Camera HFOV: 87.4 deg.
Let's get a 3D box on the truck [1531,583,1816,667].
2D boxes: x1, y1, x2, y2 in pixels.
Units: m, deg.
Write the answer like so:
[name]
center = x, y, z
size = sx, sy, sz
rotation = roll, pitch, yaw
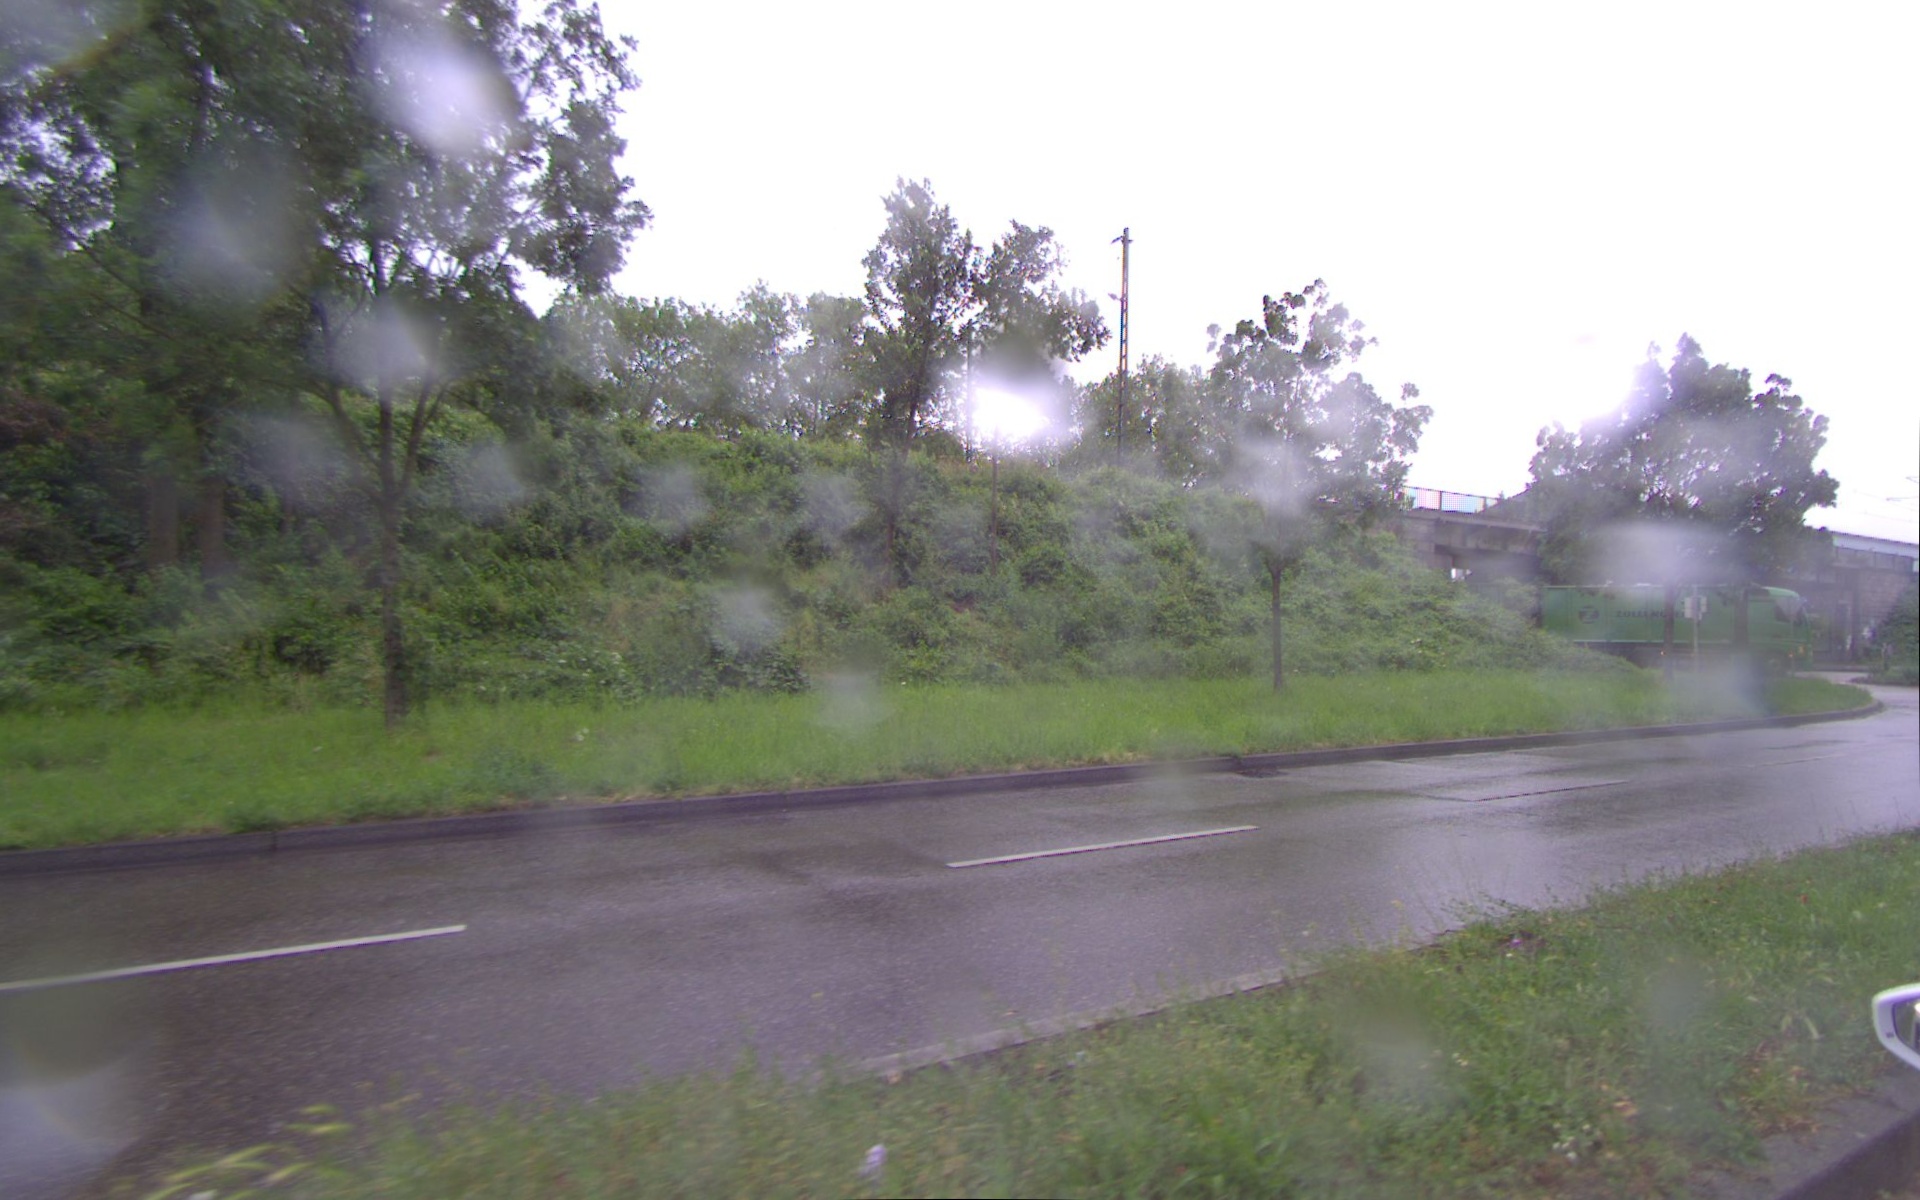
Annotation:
[truck]
center = 30.761, 1.008, 43.926
size = 9.873, 3.416, 2.345
rotation = 1, -1, 25
